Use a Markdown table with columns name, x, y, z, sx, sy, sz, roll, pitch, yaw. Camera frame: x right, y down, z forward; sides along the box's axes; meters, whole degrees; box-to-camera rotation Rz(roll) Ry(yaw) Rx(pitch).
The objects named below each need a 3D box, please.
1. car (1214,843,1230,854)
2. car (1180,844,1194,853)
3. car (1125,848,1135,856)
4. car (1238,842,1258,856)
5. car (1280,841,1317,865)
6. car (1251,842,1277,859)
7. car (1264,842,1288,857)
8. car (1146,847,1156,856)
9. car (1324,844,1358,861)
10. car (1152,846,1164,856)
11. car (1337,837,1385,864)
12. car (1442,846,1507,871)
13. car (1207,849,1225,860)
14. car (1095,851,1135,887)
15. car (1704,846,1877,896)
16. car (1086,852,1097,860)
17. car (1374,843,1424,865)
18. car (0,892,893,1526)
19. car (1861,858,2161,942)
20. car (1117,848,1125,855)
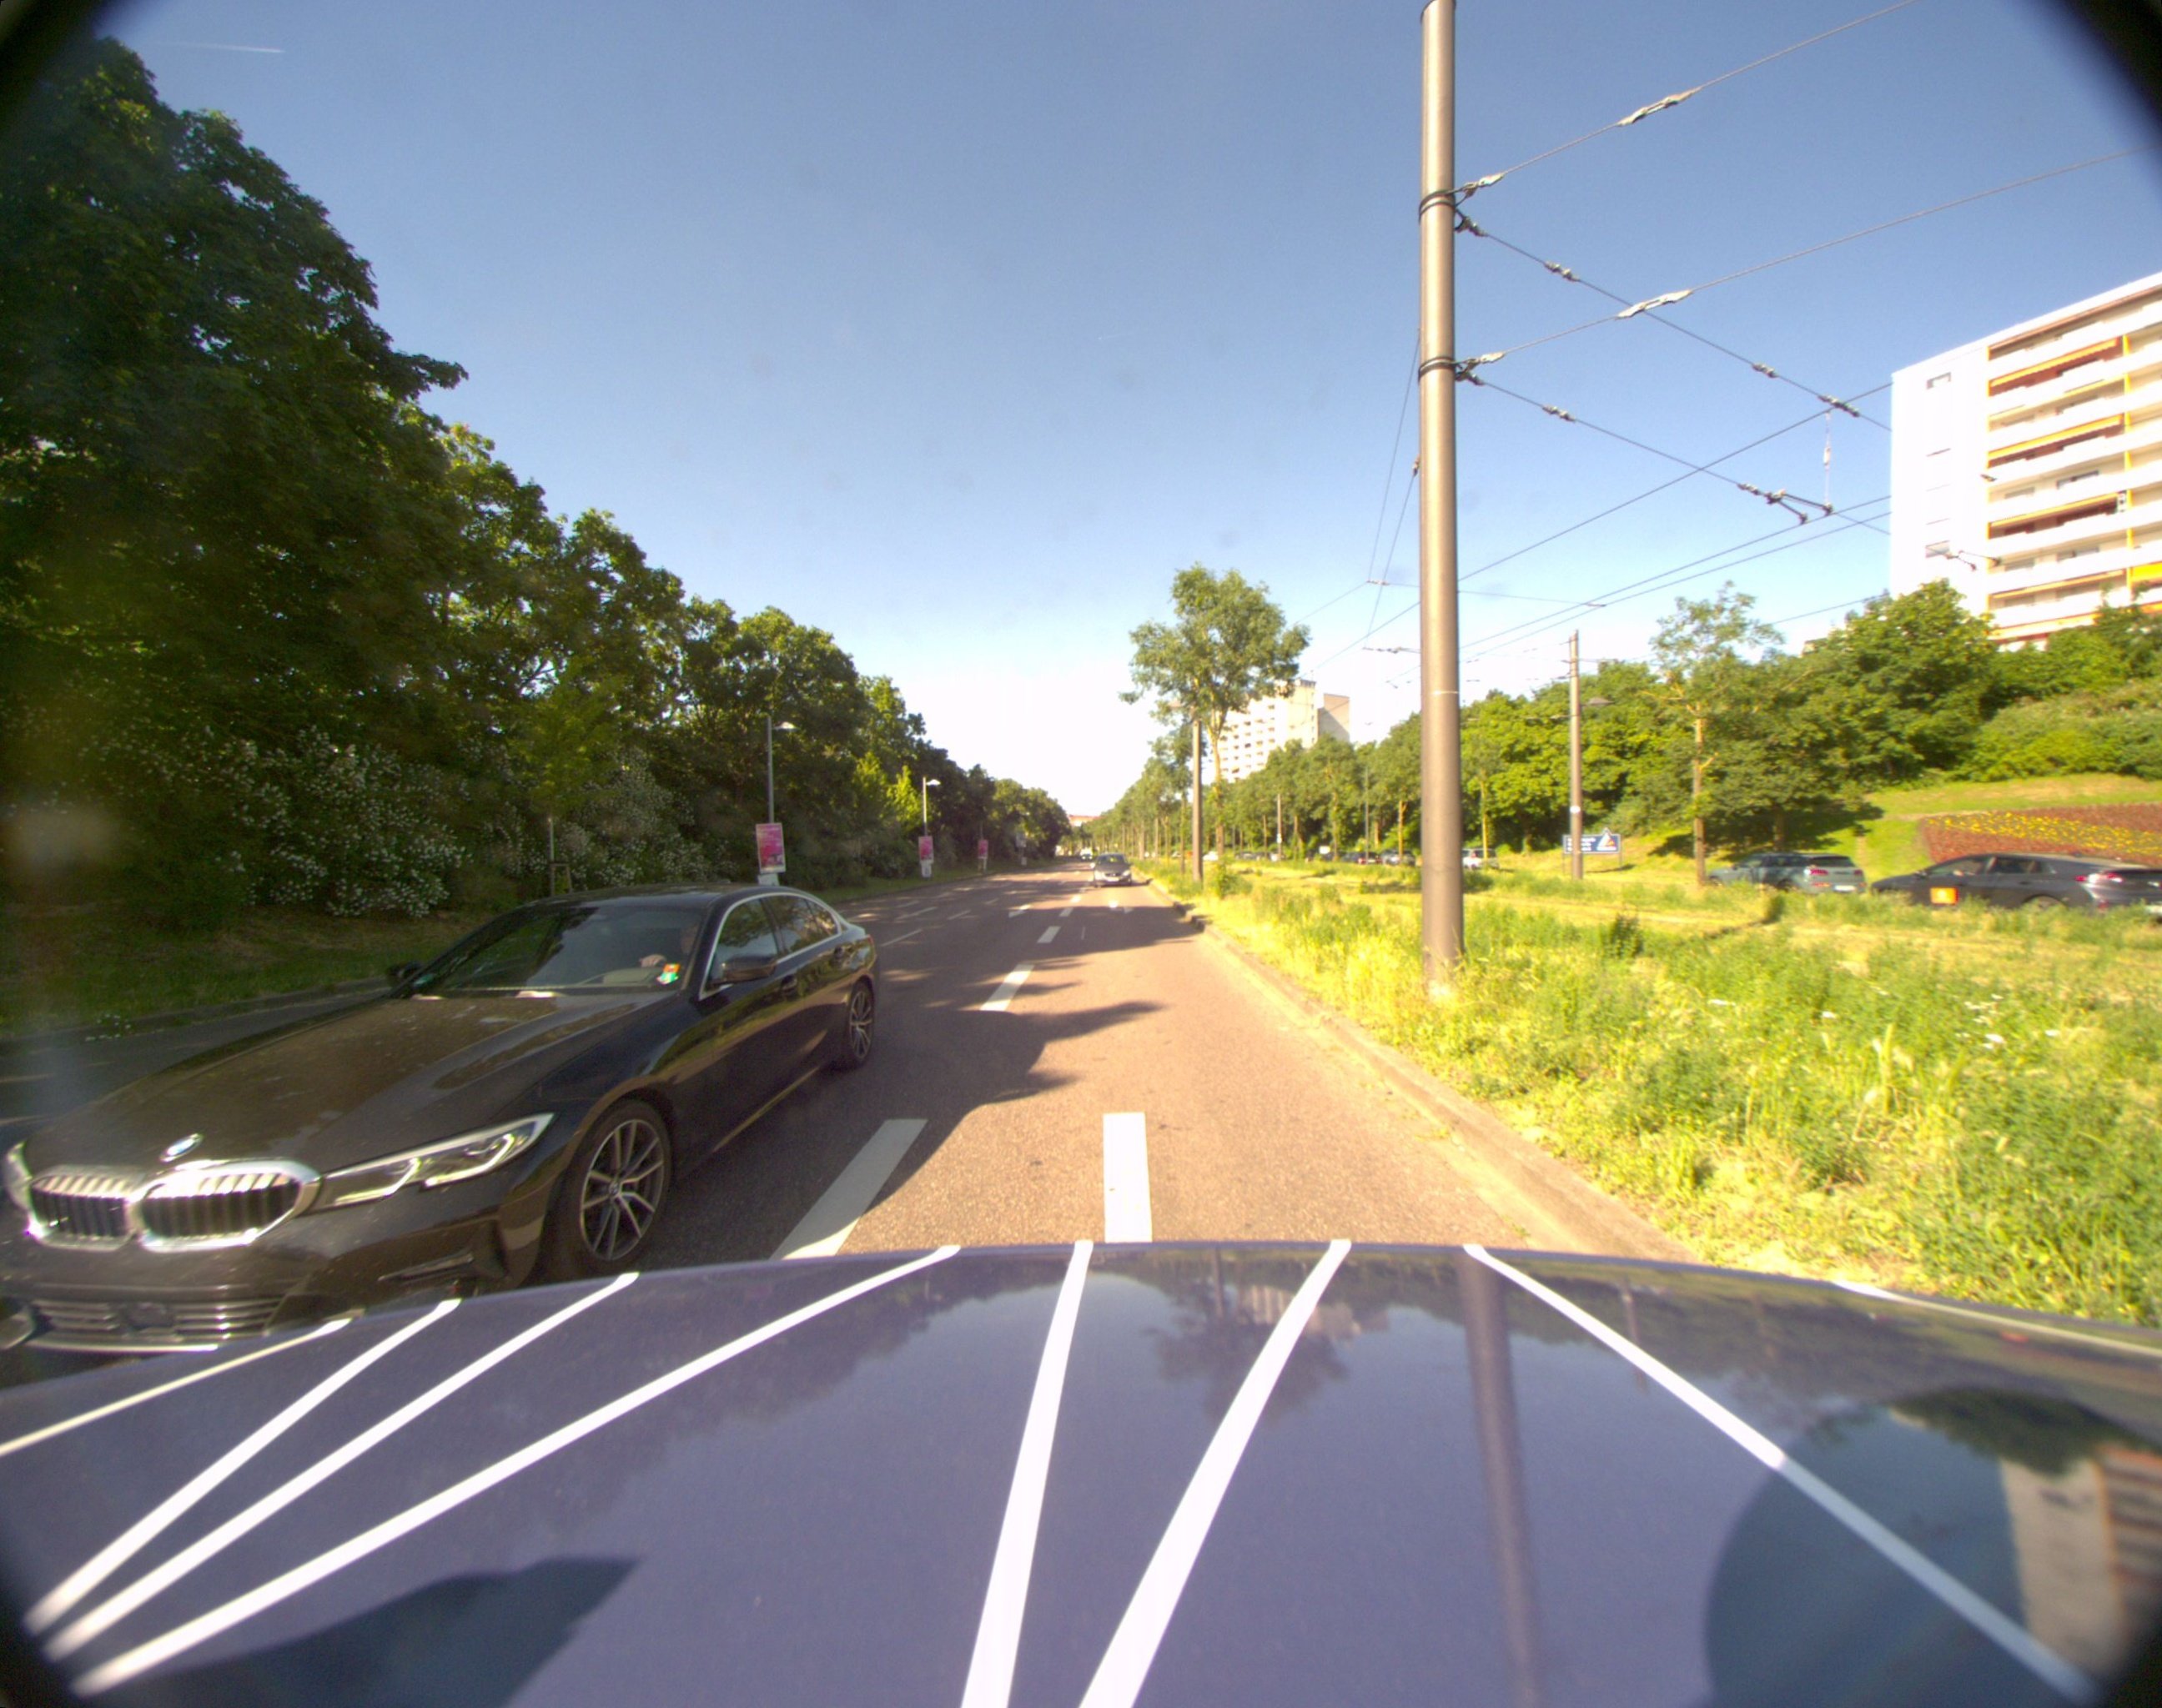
| name | x | y | z | sx | sy | sz | roll | pitch | yaw |
| --- | --- | --- | --- | --- | --- | --- | --- | --- | --- |
| car | 22.313 | -0.836 | 120.513 | 1.882 | 1.755 | 4.000 | -1 | 0 | 1 |
| car | 19.837 | -0.997 | 142.275 | 1.882 | 1.755 | 3.999 | -1 | 0 | -1 |
| car | 12.261 | -0.564 | 191.428 | 1.999 | 2.002 | 3.998 | -1 | 0 | -3 |
| car | 22.839 | -0.681 | 103.791 | 1.882 | 1.755 | 4.000 | -1 | 0 | 1 |
| car | 18.899 | -0.100 | 66.095 | 1.999 | 2.002 | 3.999 | -1 | 0 | -1 |
| car | 19.916 | -0.371 | 82.820 | 1.882 | 1.755 | 4.000 | -1 | 0 | 1 |
| car | 22.991 | -0.543 | 89.585 | 1.882 | 1.755 | 4.000 | -1 | 0 | 1 |
| car | 16.784 | -0.651 | 182.604 | 1.999 | 2.002 | 3.999 | -1 | 0 | -1 |
| car | 22.864 | -0.151 | 66.945 | 1.733 | 1.433 | 4.000 | -1 | 0 | 1 |
| car | 16.463 | -0.706 | 162.038 | 1.942 | 2.002 | 3.999 | -1 | 0 | -2 |
| car | 19.173 | -0.253 | 52.146 | 1.882 | 1.755 | 4.000 | -1 | 0 | 1 |
| car | 22.712 | 0.246 | 44.040 | 1.847 | 1.390 | 4.000 | -1 | 0 | 2 |
| car | 19.413 | 0.058 | 109.496 | 1.909 | 1.652 | 4.000 | -1 | 0 | 1 |
| car | 1.586 | 0.673 | 36.274 | 1.759 | 1.612 | 3.880 | -1 | 0 | 1 |
| car | 21.614 | 0.474 | 23.392 | 1.740 | 1.368 | 4.001 | -1 | 0 | 4 |
| car | 1.879 | 0.308 | 132.676 | 1.875 | 1.428 | 4.594 | -1 | 0 | 2 |
| car | 22.974 | 0.004 | 55.097 | 1.998 | 1.477 | 4.000 | -1 | 0 | 1 |
| car | -2.603 | 1.038 | 4.193 | 1.874 | 1.390 | 4.443 | -1 | 0 | 2 |
| car | 18.402 | 0.795 | 14.983 | 1.825 | 1.353 | 4.230 | -1 | 0 | 3 |
| car | 12.021 | -0.748 | 228.669 | 1.998 | 2.002 | 4.000 | -1 | 0 | 1 |
